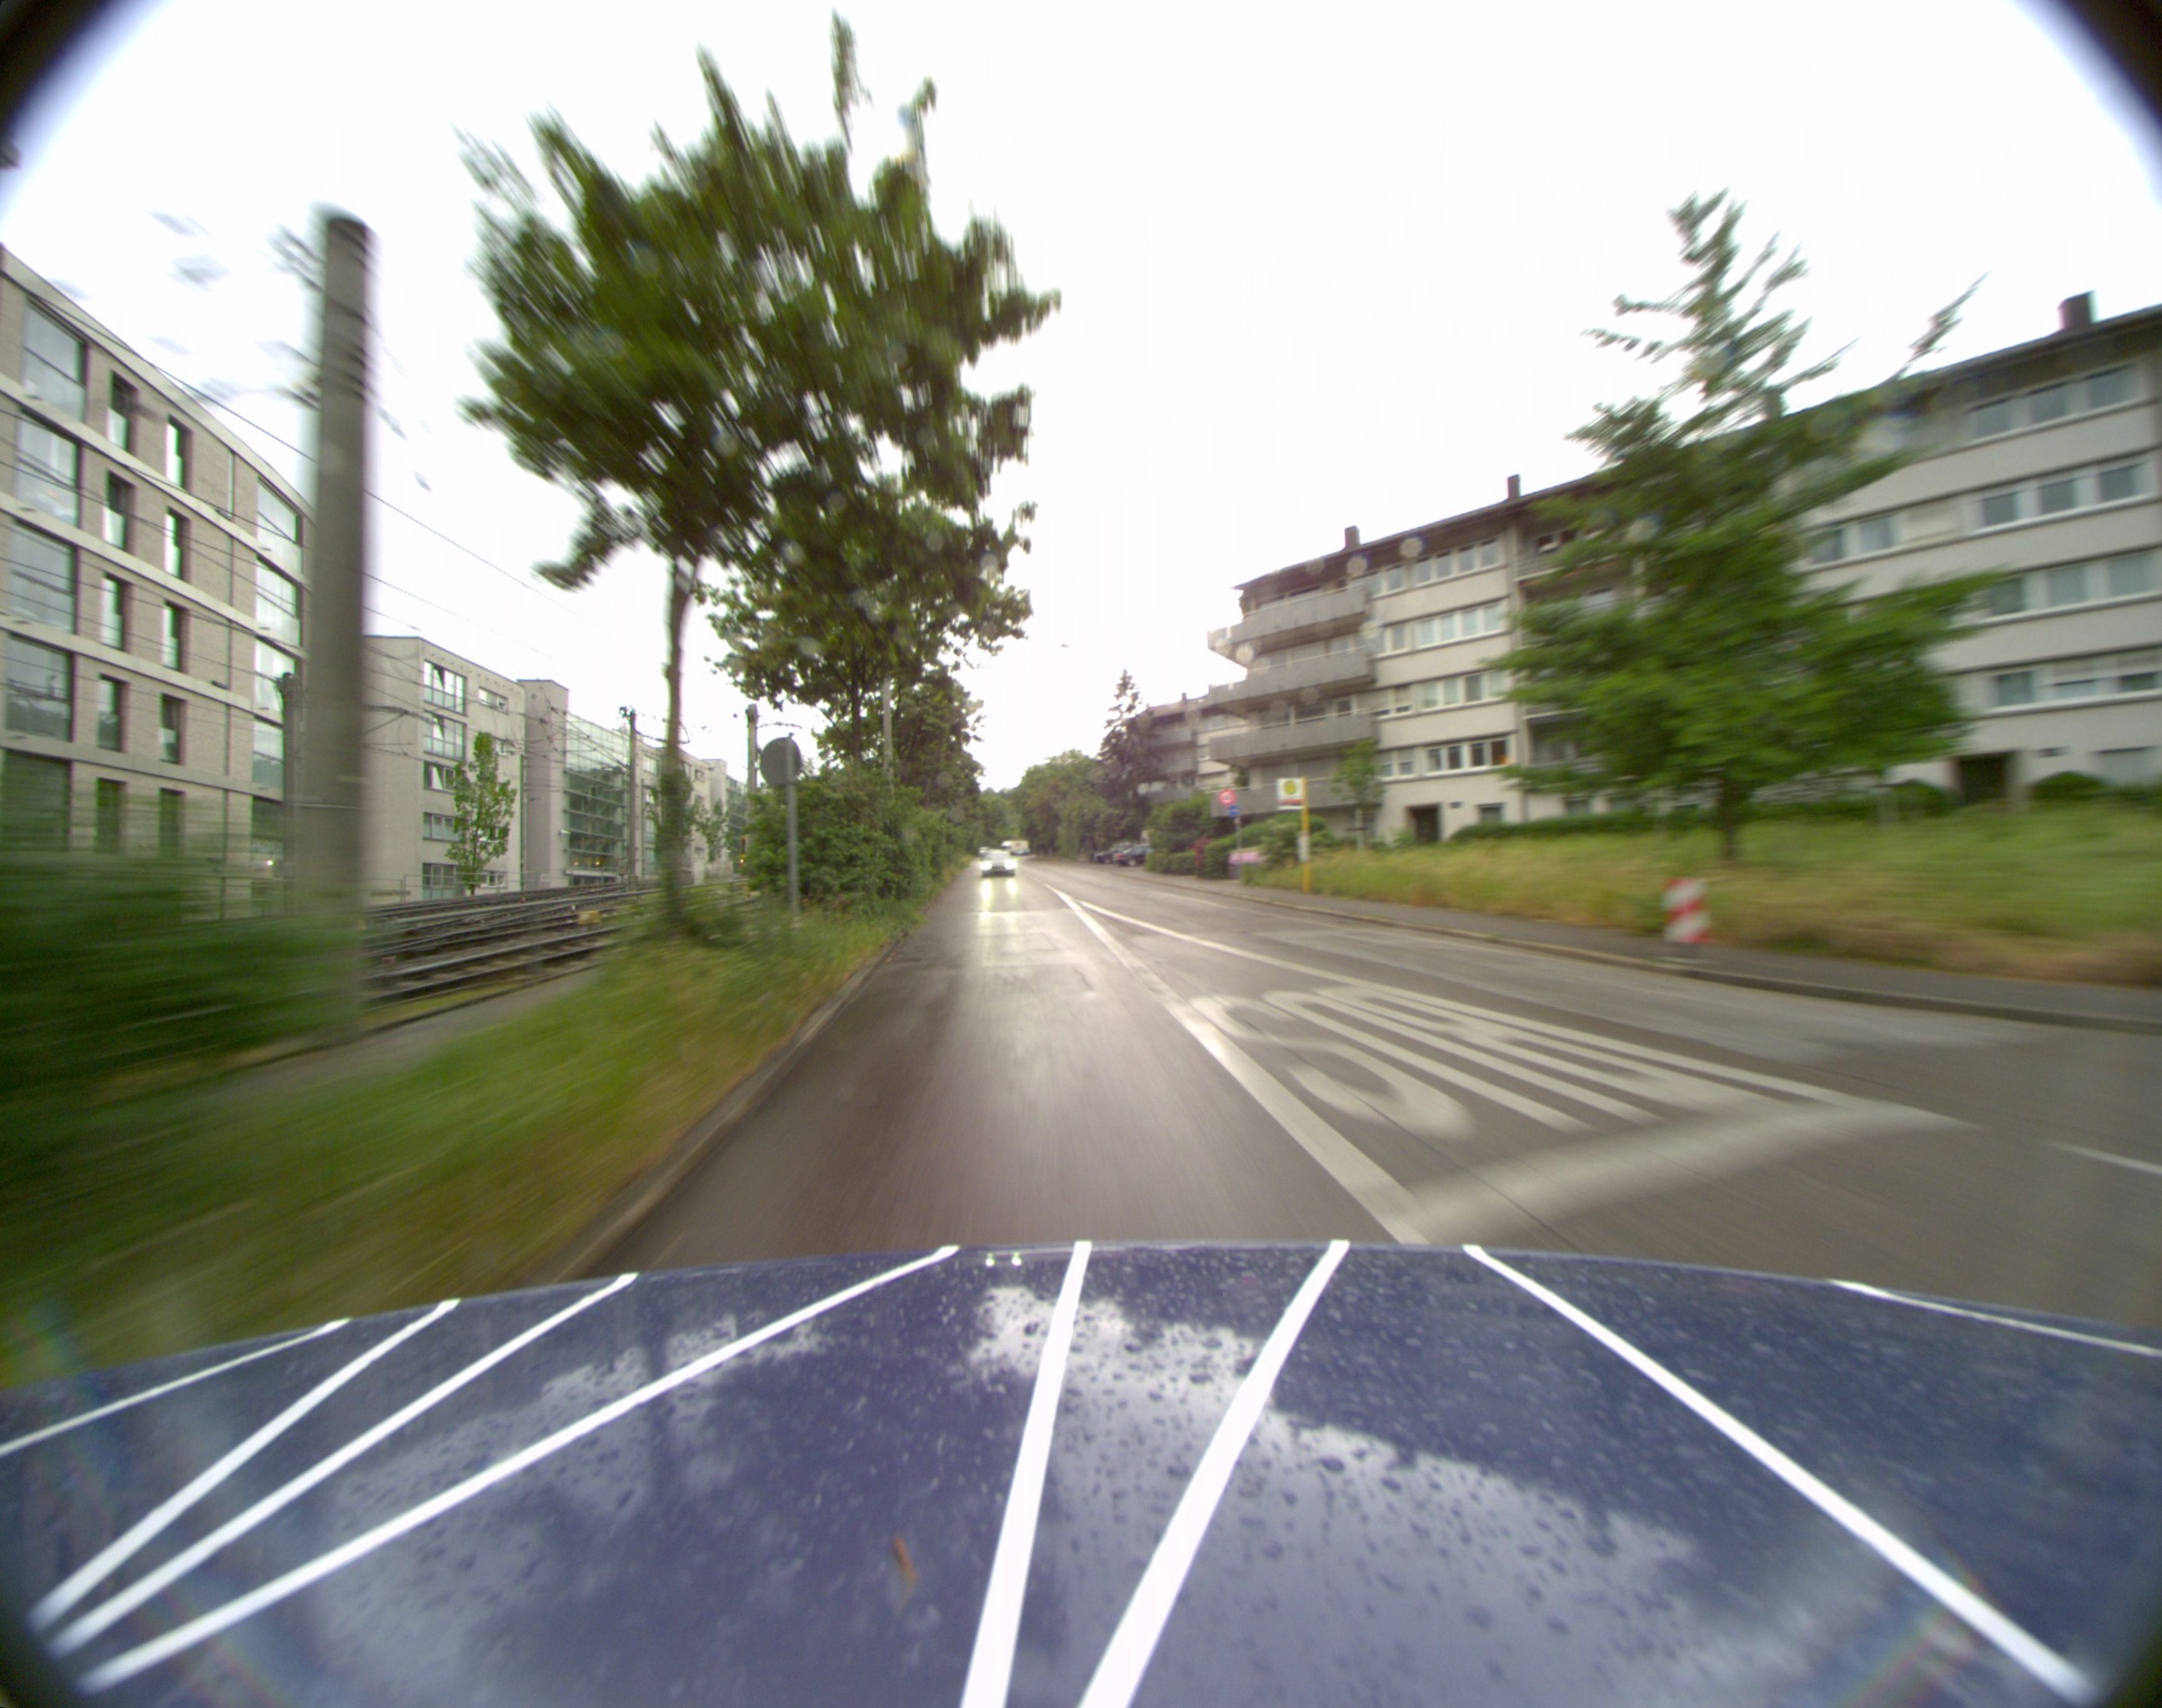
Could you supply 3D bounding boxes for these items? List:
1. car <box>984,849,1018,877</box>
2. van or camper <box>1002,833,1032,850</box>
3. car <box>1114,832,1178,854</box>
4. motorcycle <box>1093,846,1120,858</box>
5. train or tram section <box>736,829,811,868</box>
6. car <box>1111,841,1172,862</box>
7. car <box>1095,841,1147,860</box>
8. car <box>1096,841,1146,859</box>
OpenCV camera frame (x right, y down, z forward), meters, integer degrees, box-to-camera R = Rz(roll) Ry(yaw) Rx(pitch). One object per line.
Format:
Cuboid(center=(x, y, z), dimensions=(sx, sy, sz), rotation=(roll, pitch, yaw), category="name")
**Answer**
Cuboid(center=(-4.828, 0.491, 45.515), dimensions=(1.862, 1.469, 3.997), rotation=(-4, 1, -7), category="car")
Cuboid(center=(-15.082, -3.064, 179.624), dimensions=(2.882, 3.915, 8.157), rotation=(-1, 1, 29), category="van or camper")
Cuboid(center=(4.888, -0.862, 57.664), dimensions=(4.499, 1.481, 1.846), rotation=(-3, 2, -6), category="car")
Cuboid(center=(2.419, -0.168, 71.759), dimensions=(2.461, 1.102, 0.660), rotation=(-1, 1, 0), category="motorcycle")
Cuboid(center=(-30.950, -0.581, 77.340), dimensions=(3.206, 3.541, 14.492), rotation=(-2, 1, -6), category="train or tram section")
Cuboid(center=(4.766, -0.238, 60.062), dimensions=(4.443, 1.519, 1.773), rotation=(-2, 1, -9), category="car")
Cuboid(center=(3.539, -0.324, 67.619), dimensions=(4.442, 1.519, 1.773), rotation=(-1, 1, -6), category="car")
Cuboid(center=(3.699, -0.405, 70.440), dimensions=(4.442, 1.519, 1.773), rotation=(-1, 1, -6), category="car")
